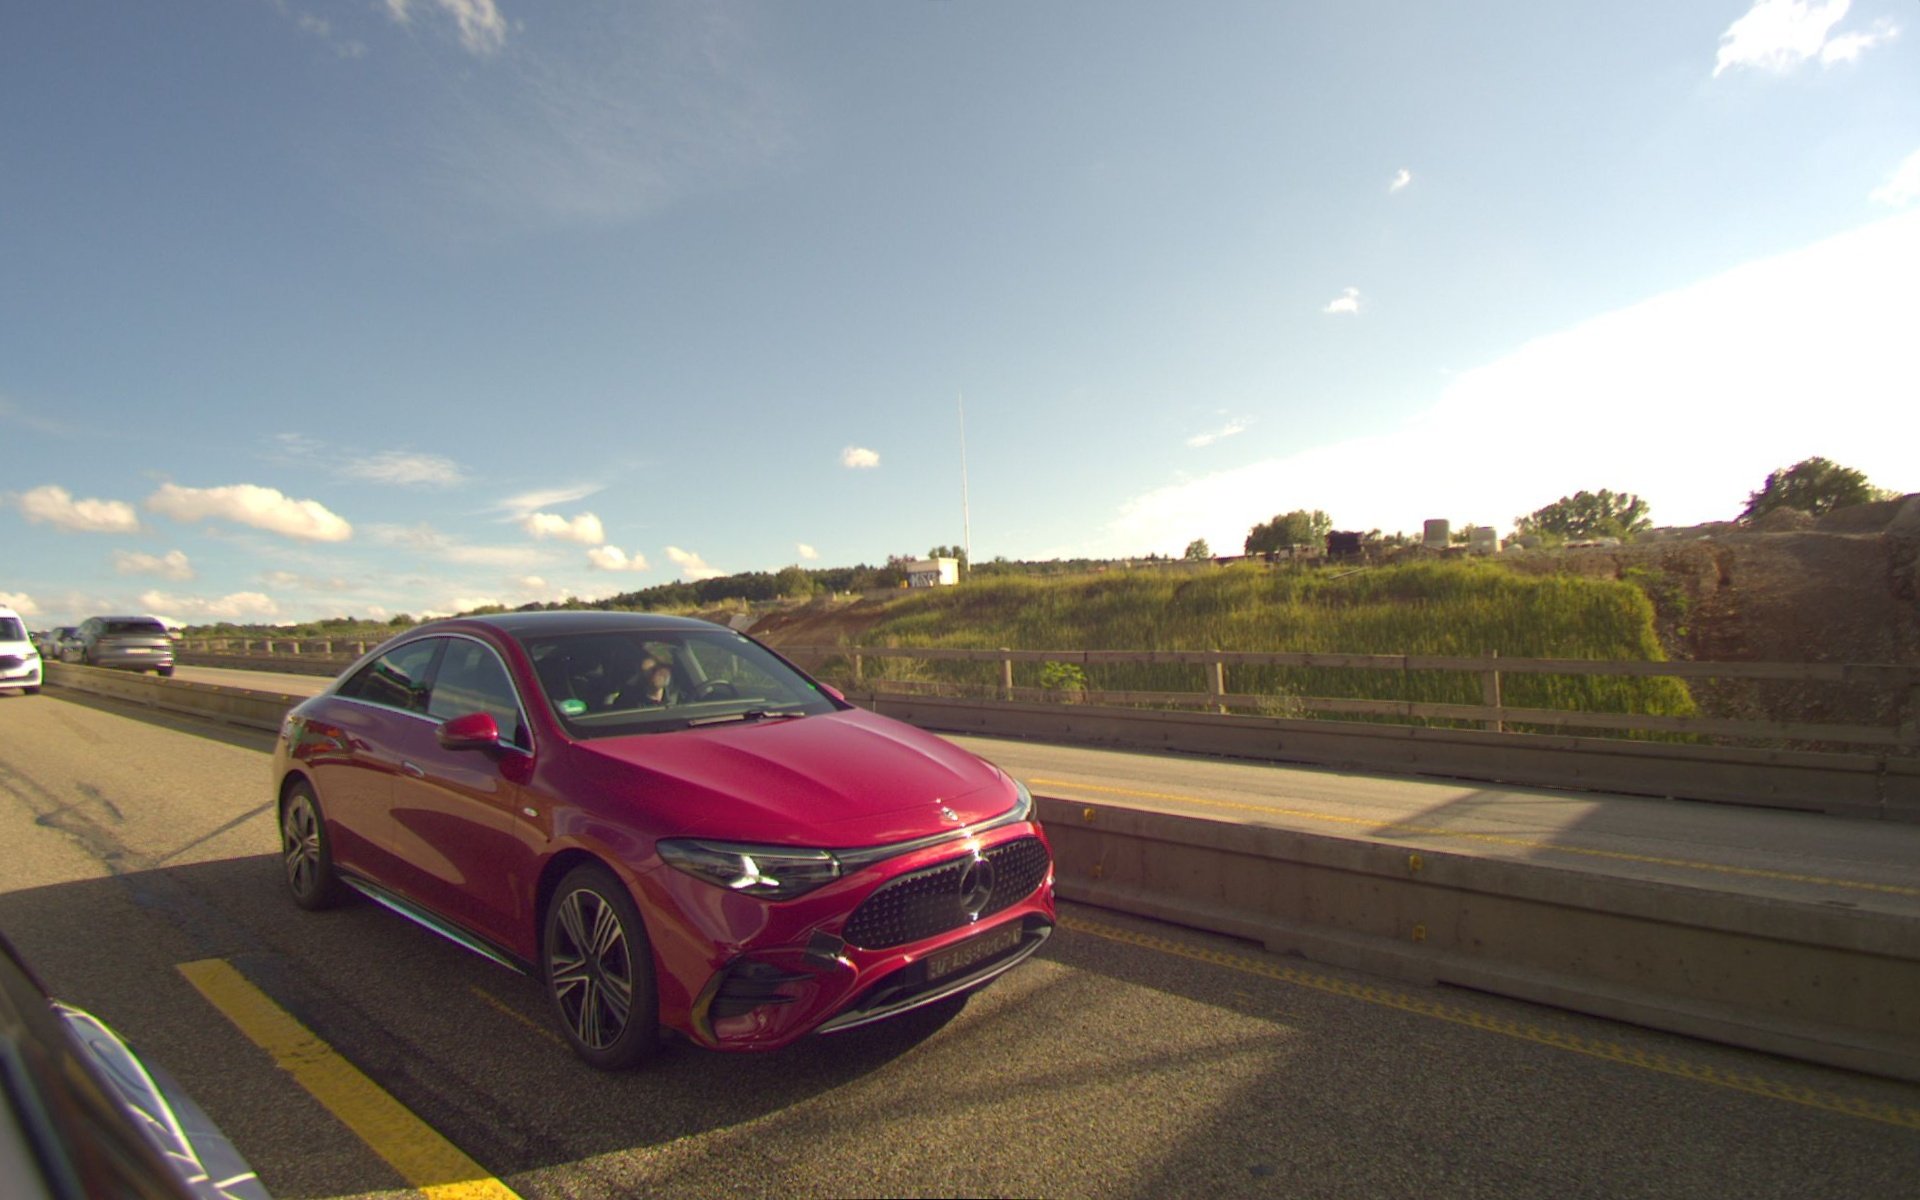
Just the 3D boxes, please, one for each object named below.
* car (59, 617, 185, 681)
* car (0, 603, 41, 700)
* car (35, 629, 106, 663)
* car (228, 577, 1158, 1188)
[{"bbox_3d":[-22.382,1.314,26.978,4.214,1.575,1.804,-2,-4,40],"label":"car"},{"bbox_3d":[-20.185,1.037,20.403,4.451,1.837,1.805,-2,0,39],"label":"car"},{"bbox_3d":[-41.536,2.155,47.242,4.214,1.503,1.804,-2,-4,40],"label":"car"},{"bbox_3d":[-1.617,0.739,4.714,4.680,1.503,1.805,-2,0,40],"label":"car"}]
